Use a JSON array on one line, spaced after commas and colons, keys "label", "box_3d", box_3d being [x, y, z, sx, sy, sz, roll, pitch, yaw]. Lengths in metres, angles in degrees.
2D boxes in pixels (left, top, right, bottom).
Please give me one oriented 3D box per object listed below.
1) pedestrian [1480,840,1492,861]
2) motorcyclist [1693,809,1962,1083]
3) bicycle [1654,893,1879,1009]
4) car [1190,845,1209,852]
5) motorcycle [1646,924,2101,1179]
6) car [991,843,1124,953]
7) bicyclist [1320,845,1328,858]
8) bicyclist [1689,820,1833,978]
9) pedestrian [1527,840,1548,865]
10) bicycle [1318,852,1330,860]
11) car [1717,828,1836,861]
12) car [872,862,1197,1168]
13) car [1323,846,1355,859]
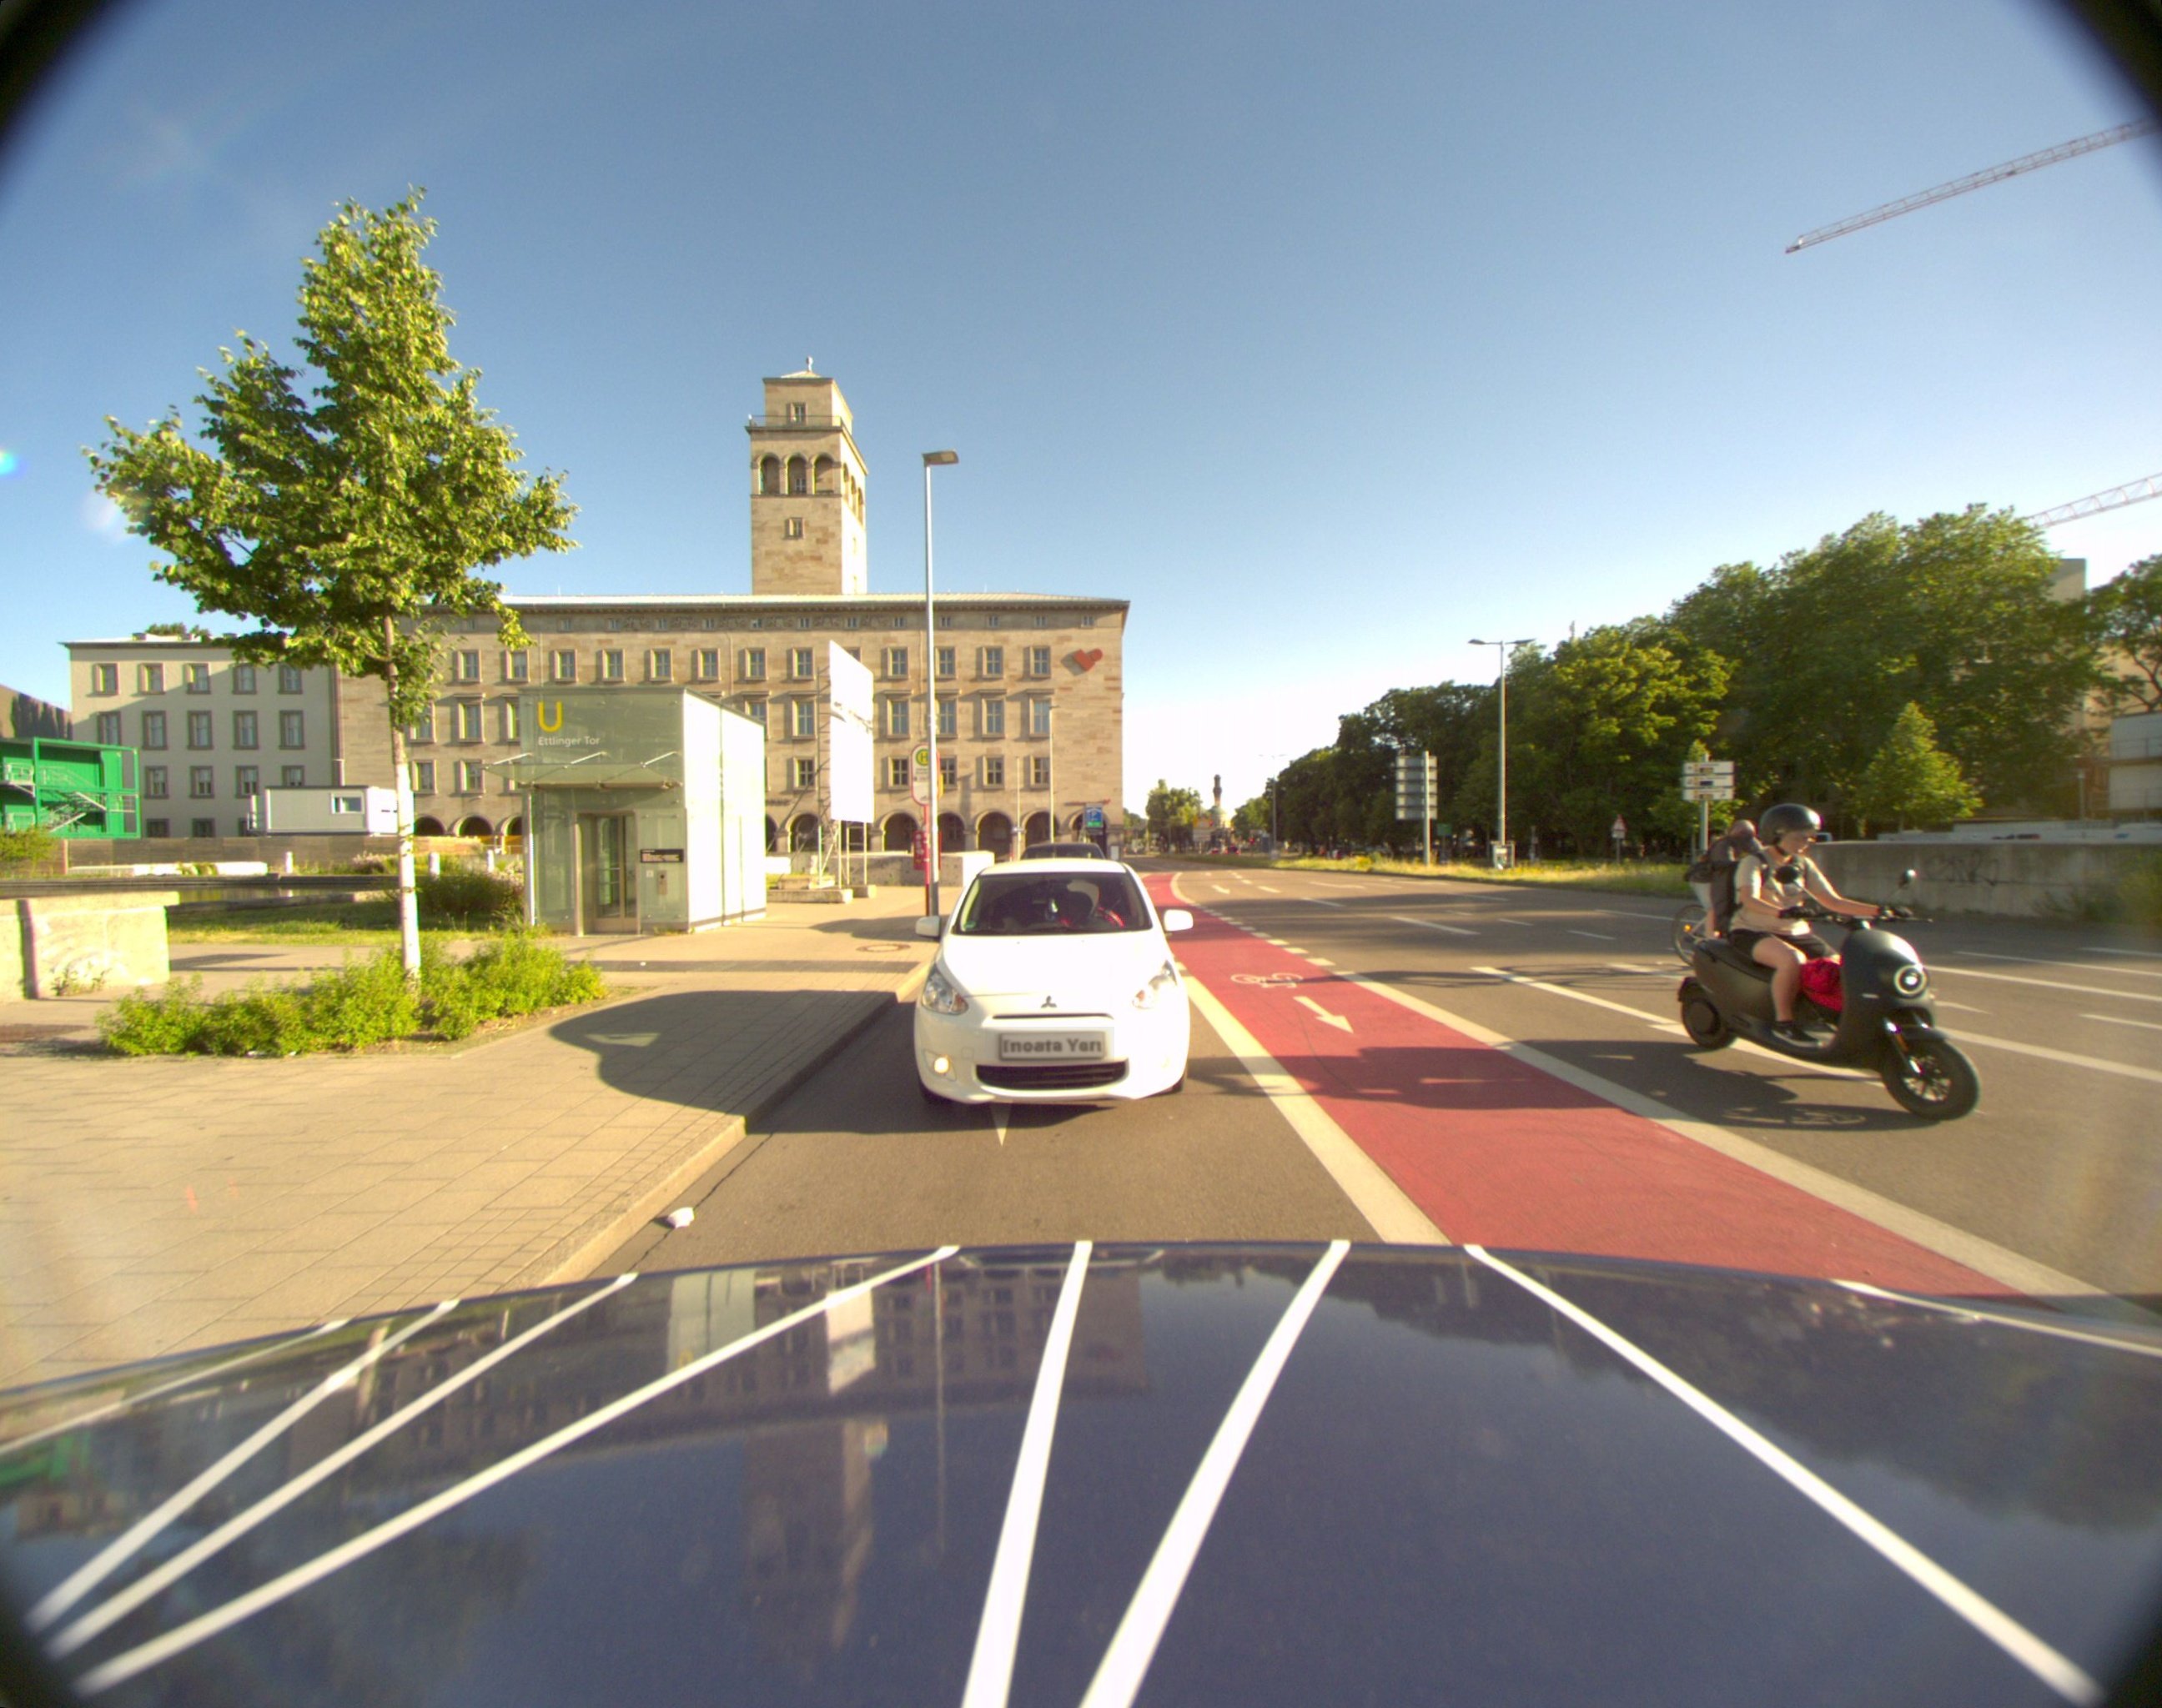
[{"label": "pedestrian", "box_3d": [32.539, -0.299, 61.058, 0.664, 1.717, 0.697, -1, 1, 1]}, {"label": "motorcyclist", "box_3d": [4.382, 0.498, 4.541, 0.756, 1.475, 0.882, -1, 1, 5]}, {"label": "bicycle", "box_3d": [6.878, 0.920, 7.777, 0.624, 0.903, 1.910, -2, 1, 2]}, {"label": "car", "box_3d": [24.935, -1.110, 159.614, 3.767, 1.443, 1.619, -2, 1, 2]}, {"label": "motorcycle", "box_3d": [4.384, 1.009, 4.493, 0.756, 0.963, 1.960, -1, 1, 5]}, {"label": "car", "box_3d": [-0.355, 0.629, 13.925, 1.999, 1.652, 4.791, -1, 1, 0]}, {"label": "bicyclist", "box_3d": [24.602, -0.274, 76.983, 0.617, 1.359, 0.768, -1, 1, 1]}, {"label": "bicyclist", "box_3d": [6.864, 0.428, 7.714, 0.624, 1.495, 0.938, -2, 1, 2]}, {"label": "pedestrian", "box_3d": [34.214, -0.114, 56.995, 0.997, 1.773, 0.964, -2, 2, 1]}, {"label": "bicycle", "box_3d": [24.609, 0.179, 76.999, 0.617, 0.800, 1.980, -1, 1, 1]}, {"label": "car", "box_3d": [42.396, -0.566, 46.400, 5.325, 1.880, 2.000, -1, 0, 3]}, {"label": "car", "box_3d": [-0.206, 0.881, 6.017, 1.660, 1.463, 3.968, -3, 1, 1]}, {"label": "car", "box_3d": [24.046, -0.194, 70.899, 1.618, 1.126, 3.770, -2, 1, -1]}]
